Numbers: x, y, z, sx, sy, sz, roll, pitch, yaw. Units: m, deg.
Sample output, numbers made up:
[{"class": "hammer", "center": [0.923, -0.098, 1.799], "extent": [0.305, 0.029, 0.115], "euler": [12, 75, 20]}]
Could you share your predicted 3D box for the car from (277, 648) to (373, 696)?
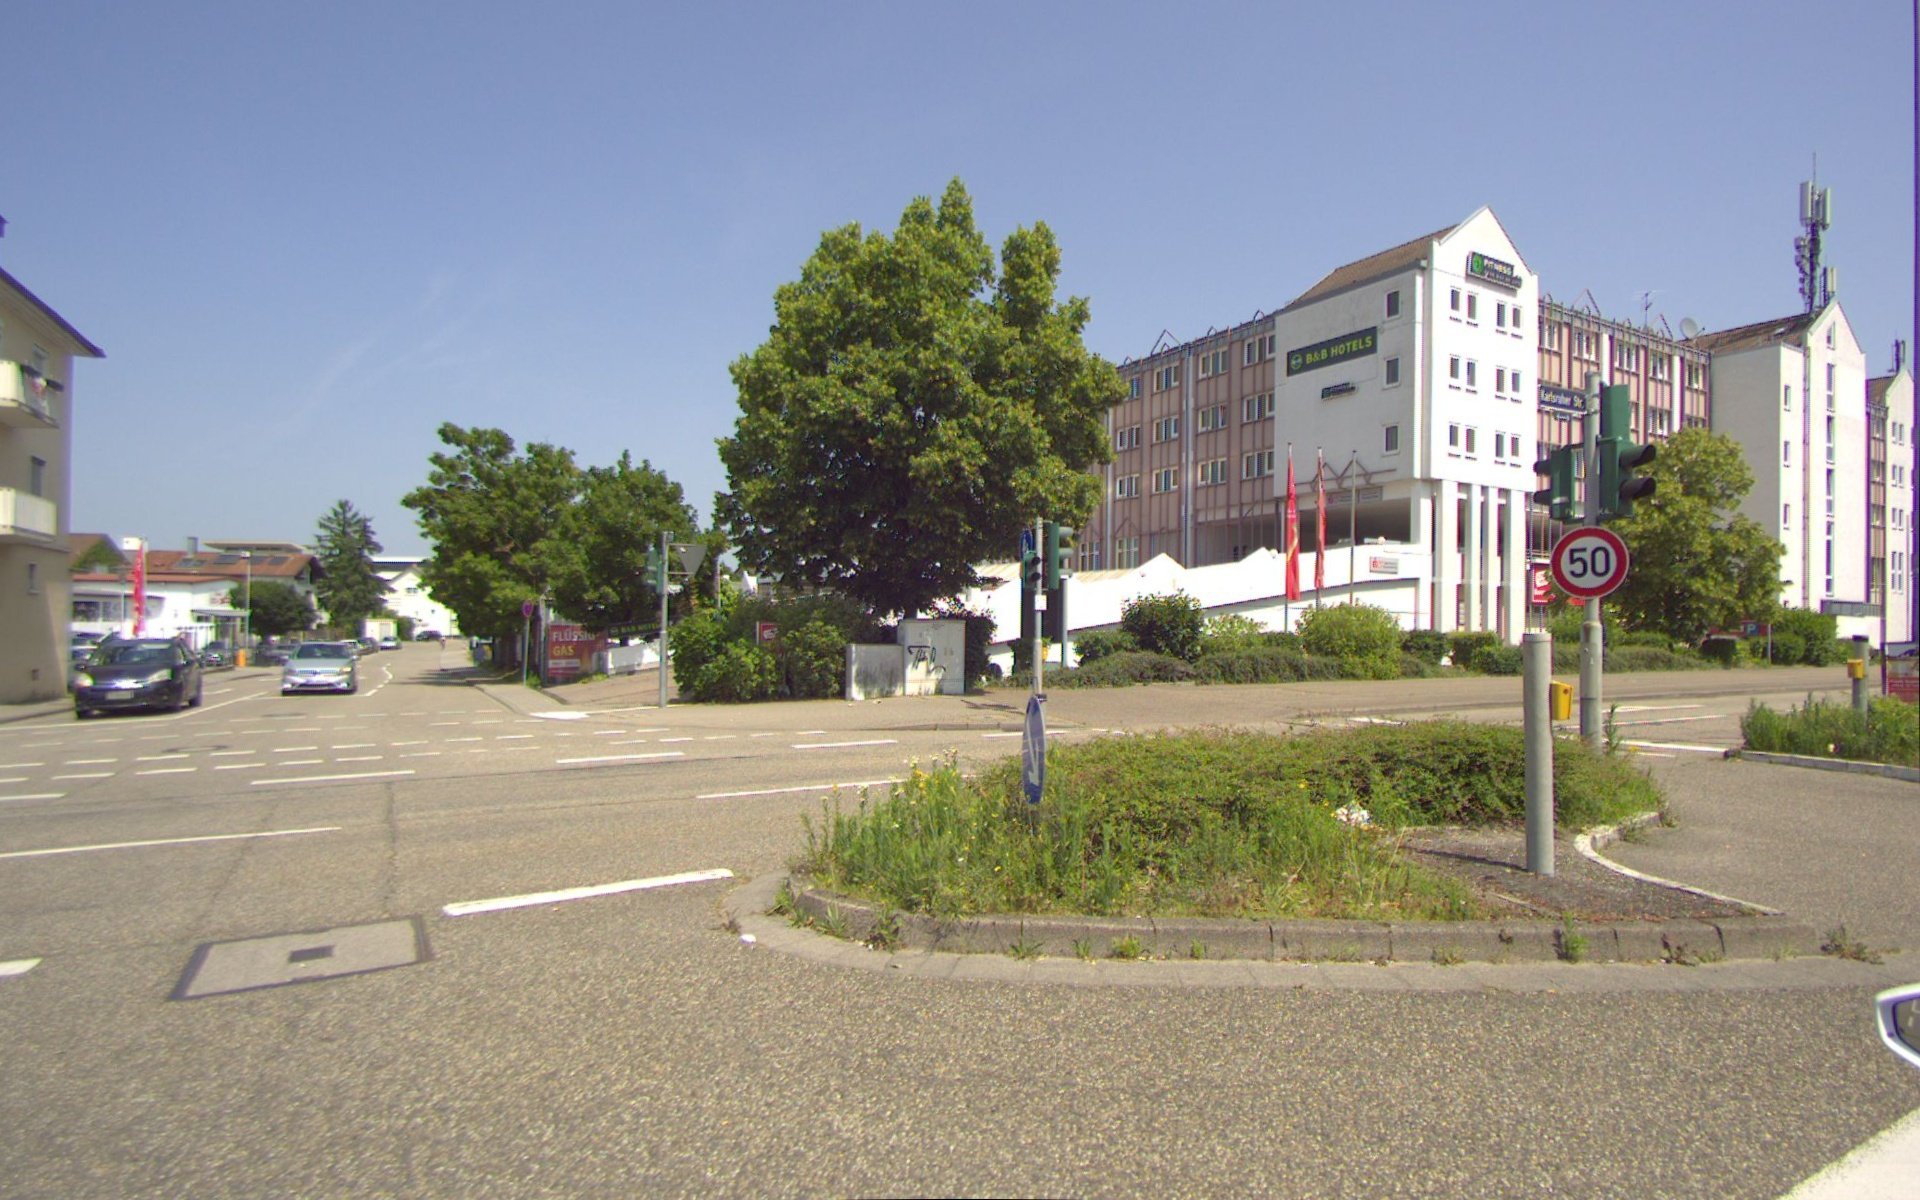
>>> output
[{"class": "car", "center": [-18.830, 2.088, 29.944], "extent": [1.843, 1.249, 3.977], "euler": [1, -2, -24]}]

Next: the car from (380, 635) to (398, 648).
[{"class": "car", "center": [-59.579, 4.314, 104.881], "extent": [1.603, 1.376, 3.263], "euler": [1, -2, -29]}]

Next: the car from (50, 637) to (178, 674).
[{"class": "car", "center": [-34.981, 2.272, 41.670], "extent": [3.689, 1.487, 1.748], "euler": [1, -2, -27]}]

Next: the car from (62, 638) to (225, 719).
[{"class": "car", "center": [-18.233, 1.680, 22.646], "extent": [1.843, 1.633, 3.977], "euler": [1, -2, -24]}]

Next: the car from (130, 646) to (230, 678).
[{"class": "car", "center": [-39.202, 3.093, 50.585], "extent": [3.689, 1.487, 1.748], "euler": [1, -2, -27]}]

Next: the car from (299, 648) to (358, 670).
[{"class": "car", "center": [-51.241, 4.798, 81.610], "extent": [3.953, 1.706, 1.984], "euler": [1, -2, -30]}]

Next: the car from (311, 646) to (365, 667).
[{"class": "car", "center": [-54.826, 4.974, 88.675], "extent": [3.953, 1.804, 1.984], "euler": [1, -2, -30]}]

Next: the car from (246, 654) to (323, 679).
[{"class": "car", "center": [-45.798, 4.491, 68.222], "extent": [3.941, 1.639, 1.990], "euler": [1, -2, -22]}]

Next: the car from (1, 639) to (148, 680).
[{"class": "car", "center": [-34.153, 2.271, 38.884], "extent": [3.949, 1.472, 1.683], "euler": [1, -2, -28]}]
